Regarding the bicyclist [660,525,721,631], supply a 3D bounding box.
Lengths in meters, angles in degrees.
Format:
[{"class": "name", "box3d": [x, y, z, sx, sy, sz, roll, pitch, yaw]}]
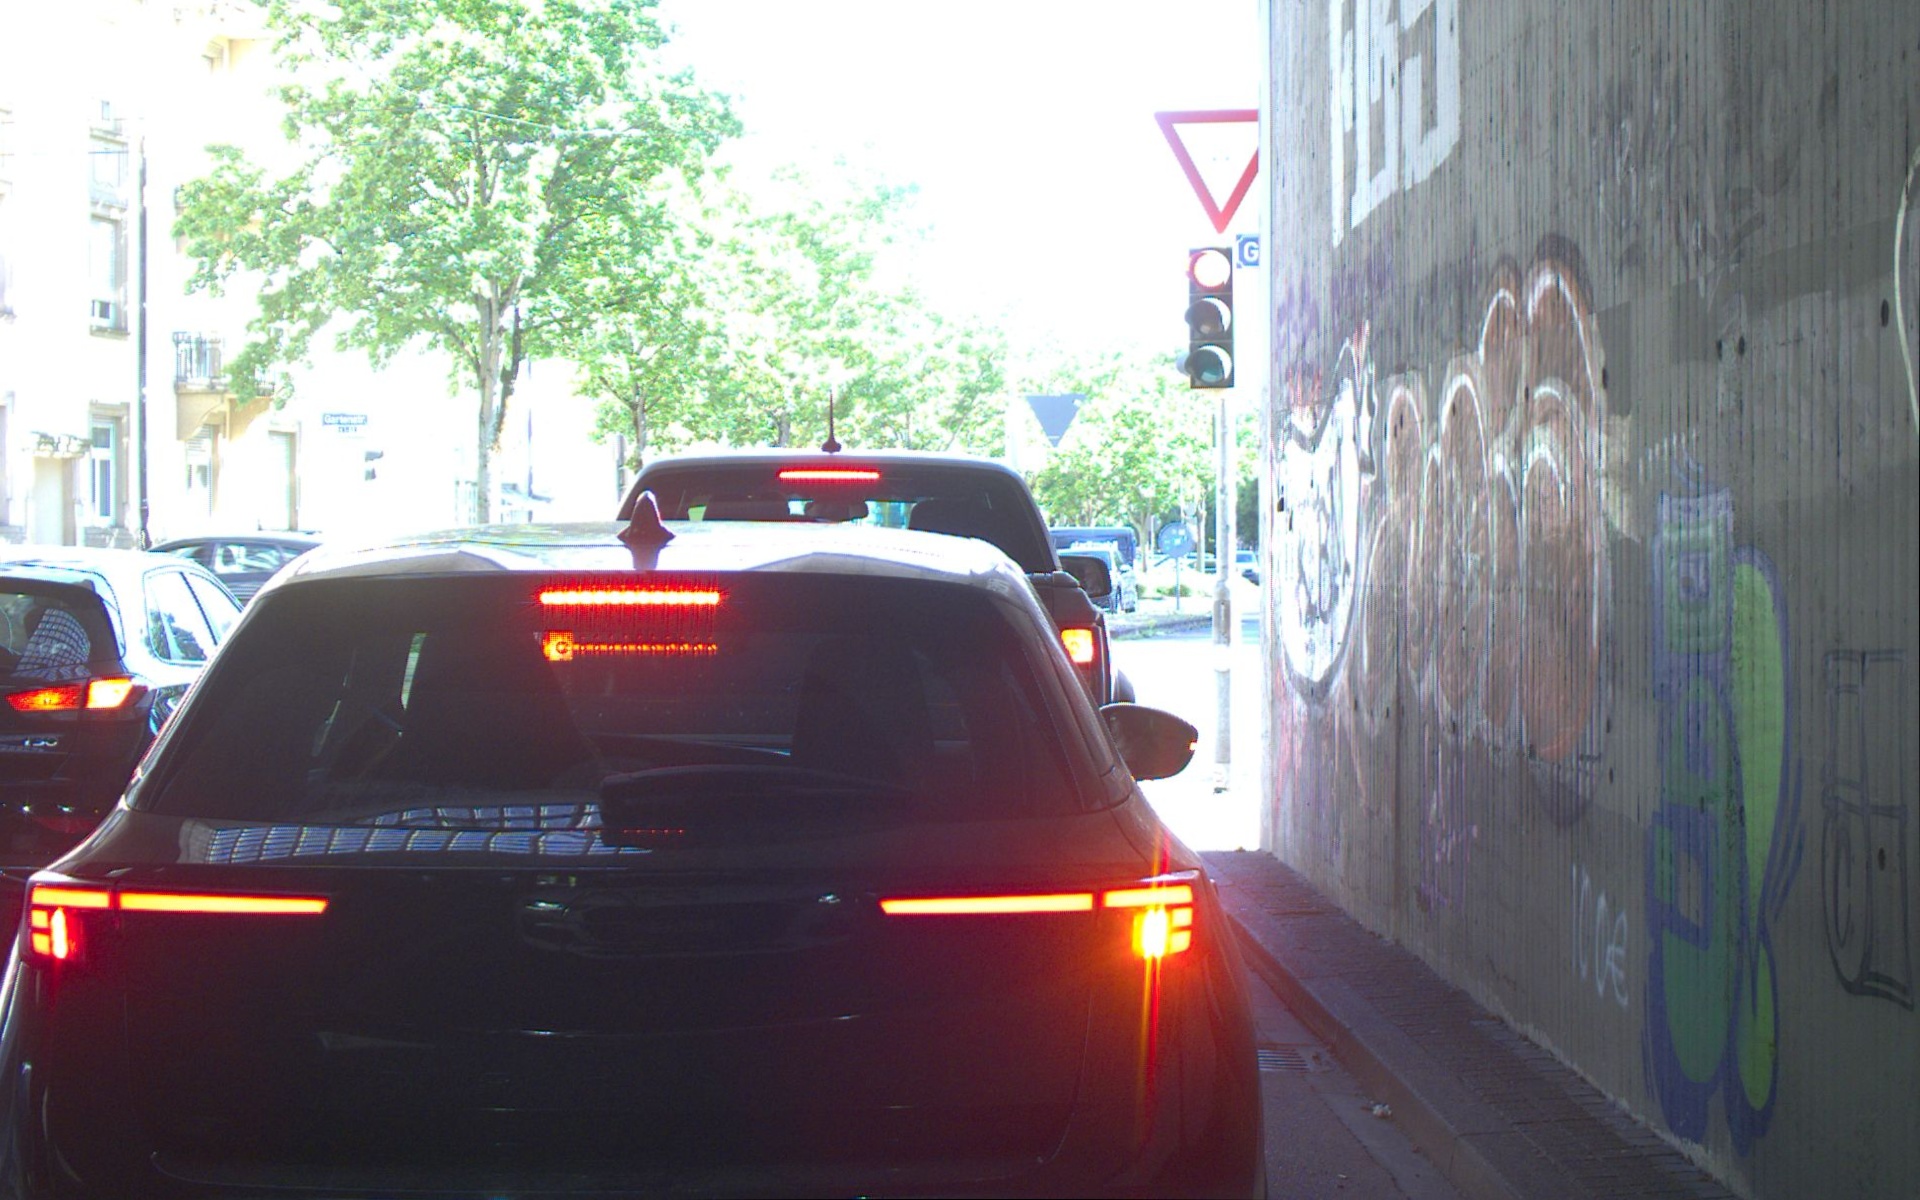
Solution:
[{"class": "bicyclist", "box3d": [-4.080, -0.335, 52.053, 0.729, 1.576, 0.814, 1, 0, 9]}]

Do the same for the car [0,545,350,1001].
[{"class": "car", "box3d": [-3.537, 0.524, 13.153, 1.779, 1.442, 4.179, 1, 1, -2]}]

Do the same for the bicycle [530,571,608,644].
[{"class": "bicycle", "box3d": [-5.853, 0.102, 51.532, 0.732, 1.064, 1.688, 1, 1, 9]}]

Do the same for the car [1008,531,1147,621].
[{"class": "car", "box3d": [2.397, -0.450, 69.021, 2.221, 1.713, 4.458, 0, -1, 10]}]

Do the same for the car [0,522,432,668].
[{"class": "car", "box3d": [-8.144, -0.072, 37.550, 4.386, 1.546, 1.882, 0, 1, 5]}]

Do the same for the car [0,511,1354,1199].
[{"class": "car", "box3d": [-0.493, 0.630, 6.086, 1.882, 1.532, 3.964, 0, 1, -1]}]

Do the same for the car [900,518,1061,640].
[{"class": "car", "box3d": [0.301, -0.238, 44.189, 1.968, 1.492, 3.896, 0, -1, 1]}]

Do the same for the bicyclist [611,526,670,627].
[{"class": "bicyclist", "box3d": [-5.058, -0.368, 54.402, 0.729, 1.576, 0.814, 1, 0, 9]}]

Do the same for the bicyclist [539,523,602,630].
[{"class": "bicyclist", "box3d": [-5.835, -0.354, 51.558, 0.729, 1.576, 0.814, 1, 0, 9]}]

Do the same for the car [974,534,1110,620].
[{"class": "car", "box3d": [1.511, -0.392, 62.211, 1.969, 1.492, 3.895, 0, -1, 9]}]

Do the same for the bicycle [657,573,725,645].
[{"class": "bicycle", "box3d": [-4.068, 0.121, 52.083, 0.626, 1.064, 1.688, 1, 1, 9]}]

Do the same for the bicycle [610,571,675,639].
[{"class": "bicycle", "box3d": [-5.035, 0.068, 54.629, 0.626, 1.064, 1.688, 1, 1, 9]}]

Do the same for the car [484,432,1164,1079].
[{"class": "car", "box3d": [-0.413, 0.411, 11.908, 1.945, 1.853, 3.964, 0, 1, -1]}]
